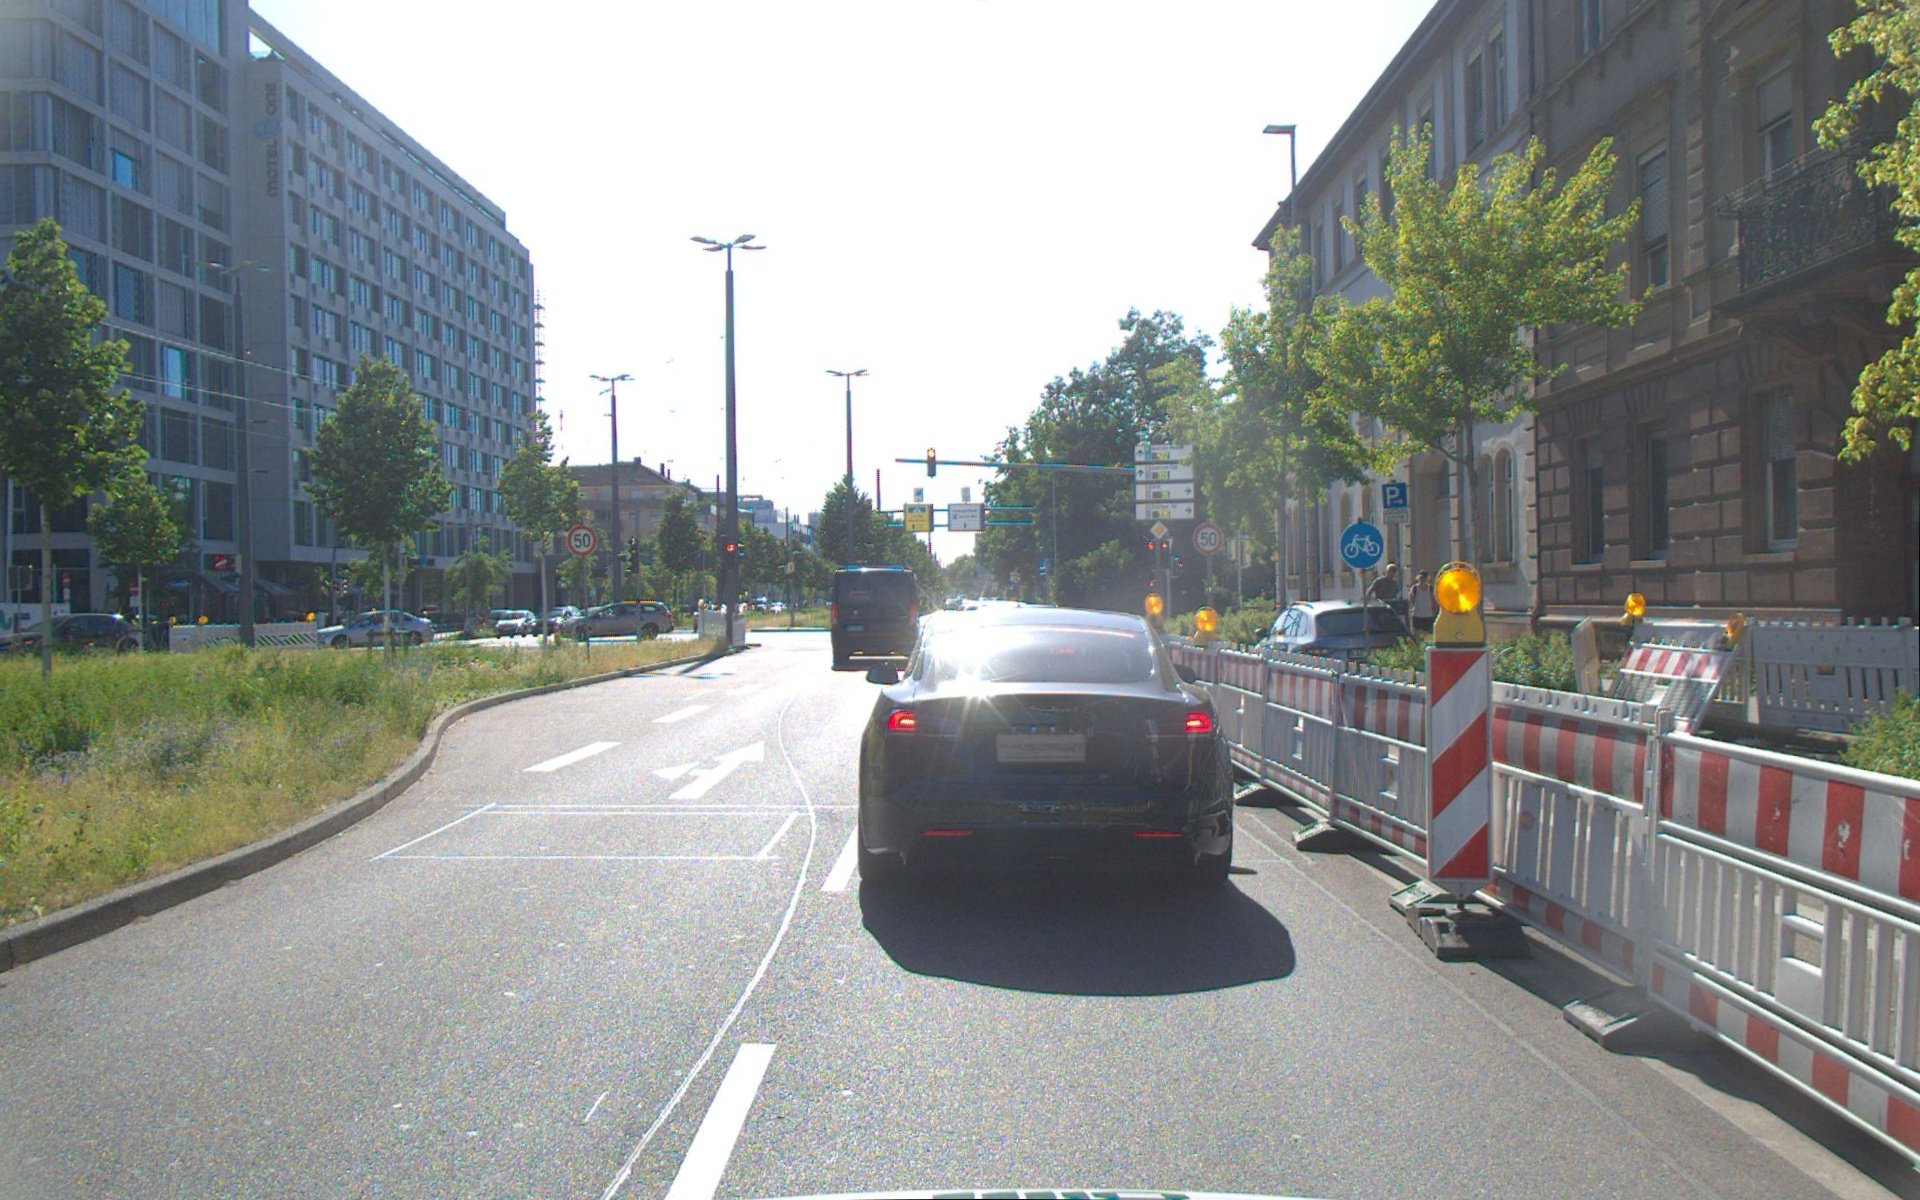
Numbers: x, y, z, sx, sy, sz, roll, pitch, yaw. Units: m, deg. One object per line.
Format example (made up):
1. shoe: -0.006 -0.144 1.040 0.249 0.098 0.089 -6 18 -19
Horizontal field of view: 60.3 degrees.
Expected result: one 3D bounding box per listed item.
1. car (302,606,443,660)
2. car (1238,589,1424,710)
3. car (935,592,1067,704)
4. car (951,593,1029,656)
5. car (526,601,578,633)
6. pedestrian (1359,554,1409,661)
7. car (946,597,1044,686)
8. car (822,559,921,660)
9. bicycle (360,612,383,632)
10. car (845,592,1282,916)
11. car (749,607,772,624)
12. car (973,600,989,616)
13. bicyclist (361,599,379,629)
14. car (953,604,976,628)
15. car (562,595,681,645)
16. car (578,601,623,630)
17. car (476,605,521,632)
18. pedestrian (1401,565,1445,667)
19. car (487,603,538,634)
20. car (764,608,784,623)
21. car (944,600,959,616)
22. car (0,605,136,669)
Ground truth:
1. car: -21.551 1.192 60.730 4.487 1.824 1.970 -1 0 -41
2. car: 5.327 0.649 24.318 1.614 1.501 4.701 -4 0 0
3. car: 0.549 0.615 23.976 1.712 1.452 4.838 0 0 0
4. car: 0.686 0.567 39.953 1.755 1.453 3.849 0 0 -1
5. car: -22.674 0.941 92.047 1.753 1.680 4.001 -1 0 1
6. pedestrian: 7.938 0.137 30.979 0.645 1.946 0.587 -4 0 0
7. car: 0.656 0.727 31.063 1.713 1.554 4.005 0 0 1
8. car: -2.081 0.195 40.103 2.173 2.307 4.484 0 1 -1
9. bicycle: -32.447 1.209 91.174 0.574 1.119 1.623 1 -1 4
10. car: 0.493 0.701 9.899 2.009 1.469 4.524 0 0 0
11. car: -20.395 1.589 169.366 1.771 1.680 4.001 -1 0 1
12. car: 2.442 0.944 192.526 1.755 1.906 3.849 0 0 -1
13. bicyclist: -32.554 0.766 91.214 0.581 1.608 0.893 1 -1 4
14. car: 0.351 1.275 131.881 1.755 1.906 3.849 0 0 -1
15. car: -13.378 0.781 65.349 4.442 1.824 1.990 -1 0 -18
16. car: -21.823 0.903 100.403 1.753 1.680 4.001 -1 0 1
17. car: -30.191 1.204 108.303 1.753 1.680 4.001 -1 0 1
18. pedestrian: 8.669 0.292 30.996 0.551 1.852 0.587 -4 0 0
19. car: -25.521 1.010 94.424 1.753 1.680 4.001 -1 0 1
20. car: -21.477 1.778 190.855 1.753 1.680 4.001 -1 0 1
21. car: -1.061 0.914 196.625 1.755 1.906 3.849 0 0 -1
22. car: -28.461 1.122 51.683 1.957 1.824 4.516 -1 0 32
